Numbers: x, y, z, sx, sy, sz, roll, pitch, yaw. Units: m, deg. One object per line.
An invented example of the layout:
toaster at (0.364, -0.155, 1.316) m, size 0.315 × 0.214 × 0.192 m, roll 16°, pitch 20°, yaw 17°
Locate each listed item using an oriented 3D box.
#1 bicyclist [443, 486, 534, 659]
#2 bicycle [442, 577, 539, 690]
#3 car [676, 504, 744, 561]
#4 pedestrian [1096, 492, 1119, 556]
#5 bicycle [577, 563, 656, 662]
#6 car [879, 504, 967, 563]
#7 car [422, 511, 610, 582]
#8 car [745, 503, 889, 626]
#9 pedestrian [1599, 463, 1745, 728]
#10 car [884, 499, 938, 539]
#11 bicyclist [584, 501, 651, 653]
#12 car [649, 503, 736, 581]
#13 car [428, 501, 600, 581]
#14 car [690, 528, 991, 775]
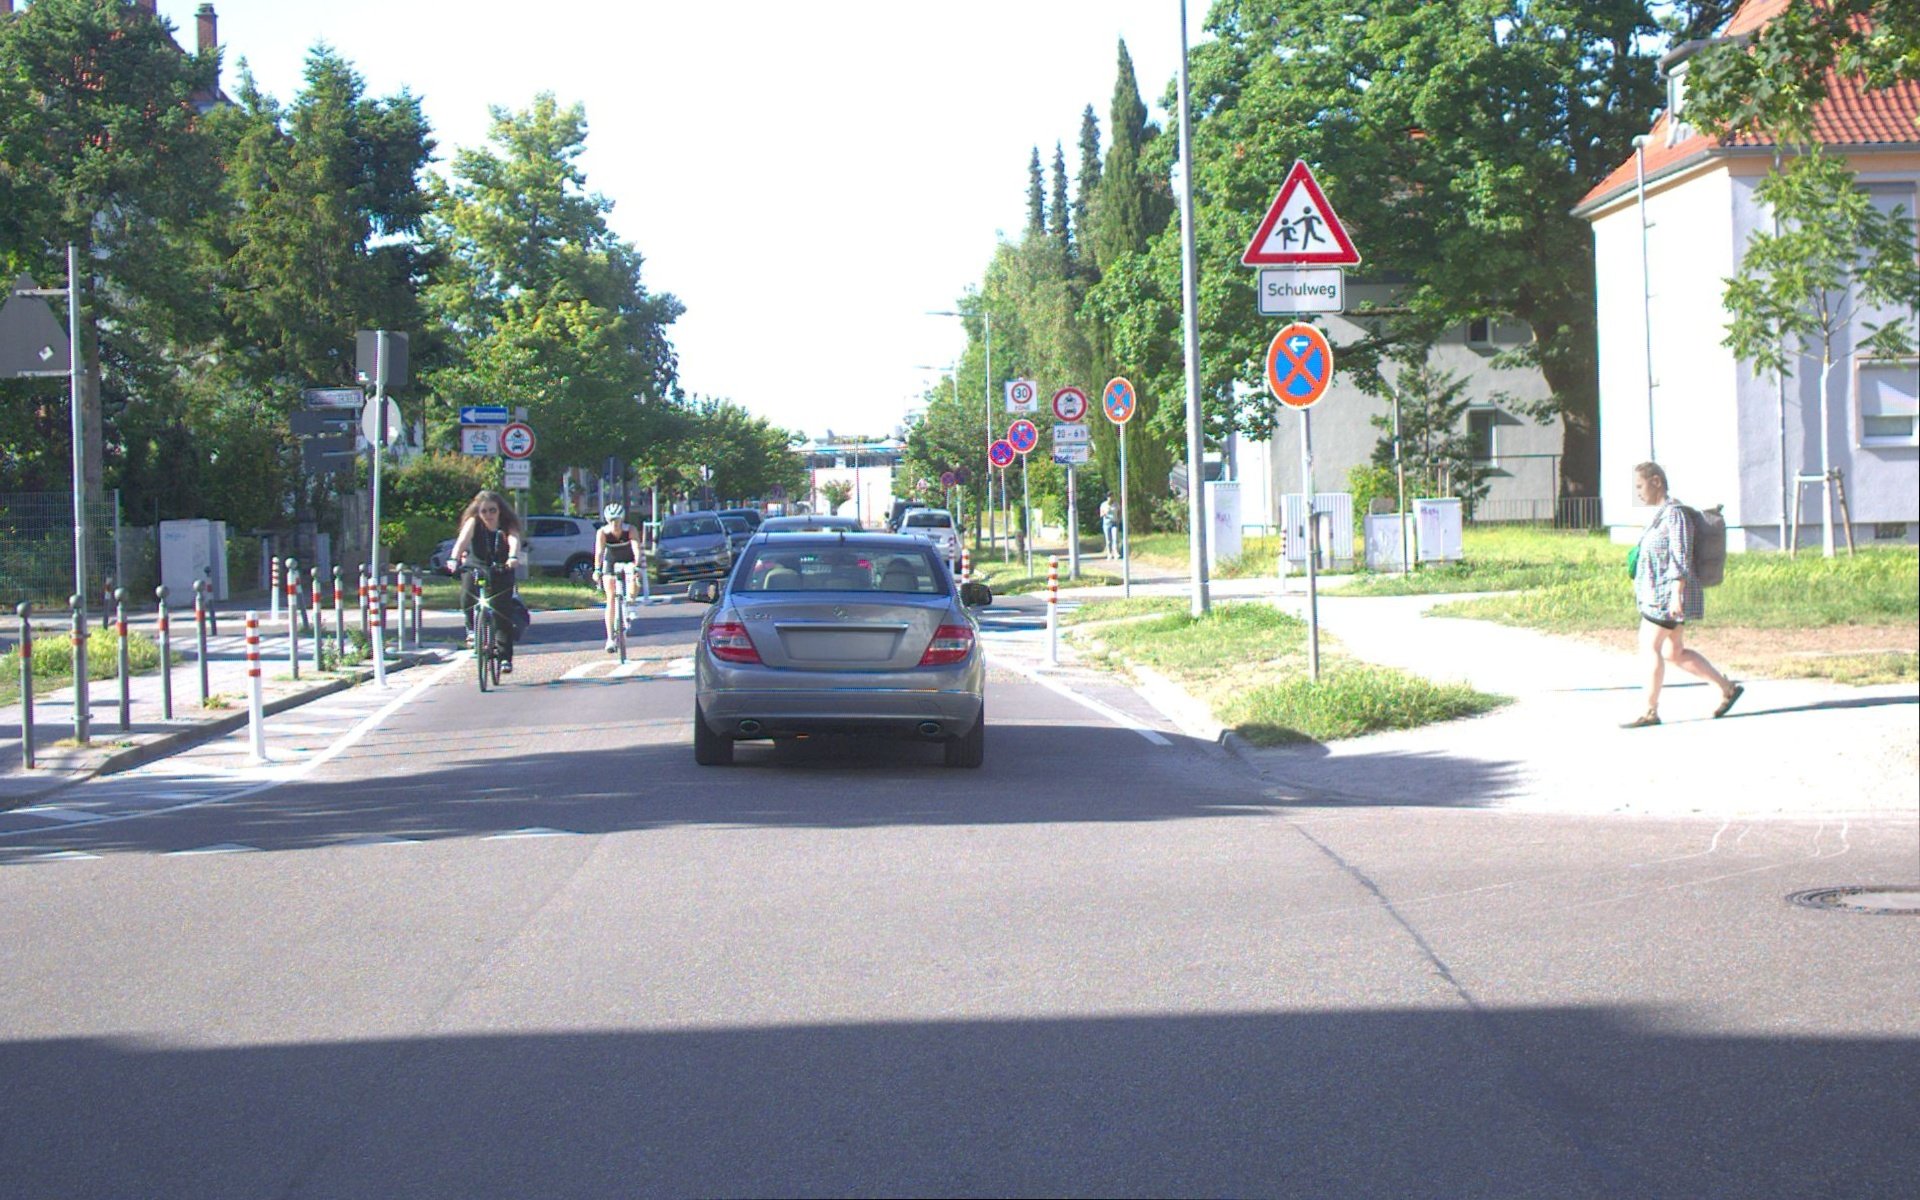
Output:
bicyclist at (-4.202, -0.252, 30.678) m, size 0.680 × 1.504 × 0.655 m, roll -2°, pitch 1°, yaw 0°
bicycle at (-4.184, 0.283, 30.706) m, size 0.589 × 0.928 × 1.850 m, roll -2°, pitch 2°, yaw 0°
car at (-7.206, -1.953, 98.842) m, size 1.787 × 1.527 × 4.001 m, roll -2°, pitch 2°, yaw -6°
pedestrian at (3.600, -1.862, 84.033) m, size 0.509 × 1.554 × 0.643 m, roll 0°, pitch 0°, yaw 0°
bicycle at (-3.457, 0.112, 34.681) m, size 0.589 × 0.928 × 1.850 m, roll -2°, pitch 2°, yaw 0°
car at (-0.926, -1.628, 83.333) m, size 1.722 × 1.325 × 4.001 m, roll -2°, pitch 2°, yaw -6°
car at (-9.728, -1.162, 75.567) m, size 3.986 × 1.518 × 1.757 m, roll 0°, pitch 0°, yaw -4°
car at (-1.775, -0.434, 42.929) m, size 1.707 × 1.443 × 4.203 m, roll 0°, pitch 0°, yaw -2°
pedestrian at (4.447, -0.032, 21.464) m, size 0.647 × 1.617 × 0.616 m, roll -1°, pitch 2°, yaw 37°
car at (-2.014, -3.295, 139.532) m, size 1.787 × 1.527 × 4.001 m, roll -2°, pitch 2°, yaw -6°
bicyclist at (-3.455, -0.241, 34.708) m, size 0.572 × 1.504 × 0.655 m, roll -2°, pitch 1°, yaw 0°
car at (-6.313, -1.384, 80.786) m, size 1.872 × 1.722 × 4.001 m, roll -2°, pitch 2°, yaw -6°
car at (-9.372, -1.249, 72.215) m, size 3.493 × 1.528 × 1.645 m, roll -2°, pitch 2°, yaw -8°
car at (-0.703, 0.289, 21.843) m, size 1.726 × 1.415 × 3.960 m, roll 0°, pitch 0°, yaw 0°
